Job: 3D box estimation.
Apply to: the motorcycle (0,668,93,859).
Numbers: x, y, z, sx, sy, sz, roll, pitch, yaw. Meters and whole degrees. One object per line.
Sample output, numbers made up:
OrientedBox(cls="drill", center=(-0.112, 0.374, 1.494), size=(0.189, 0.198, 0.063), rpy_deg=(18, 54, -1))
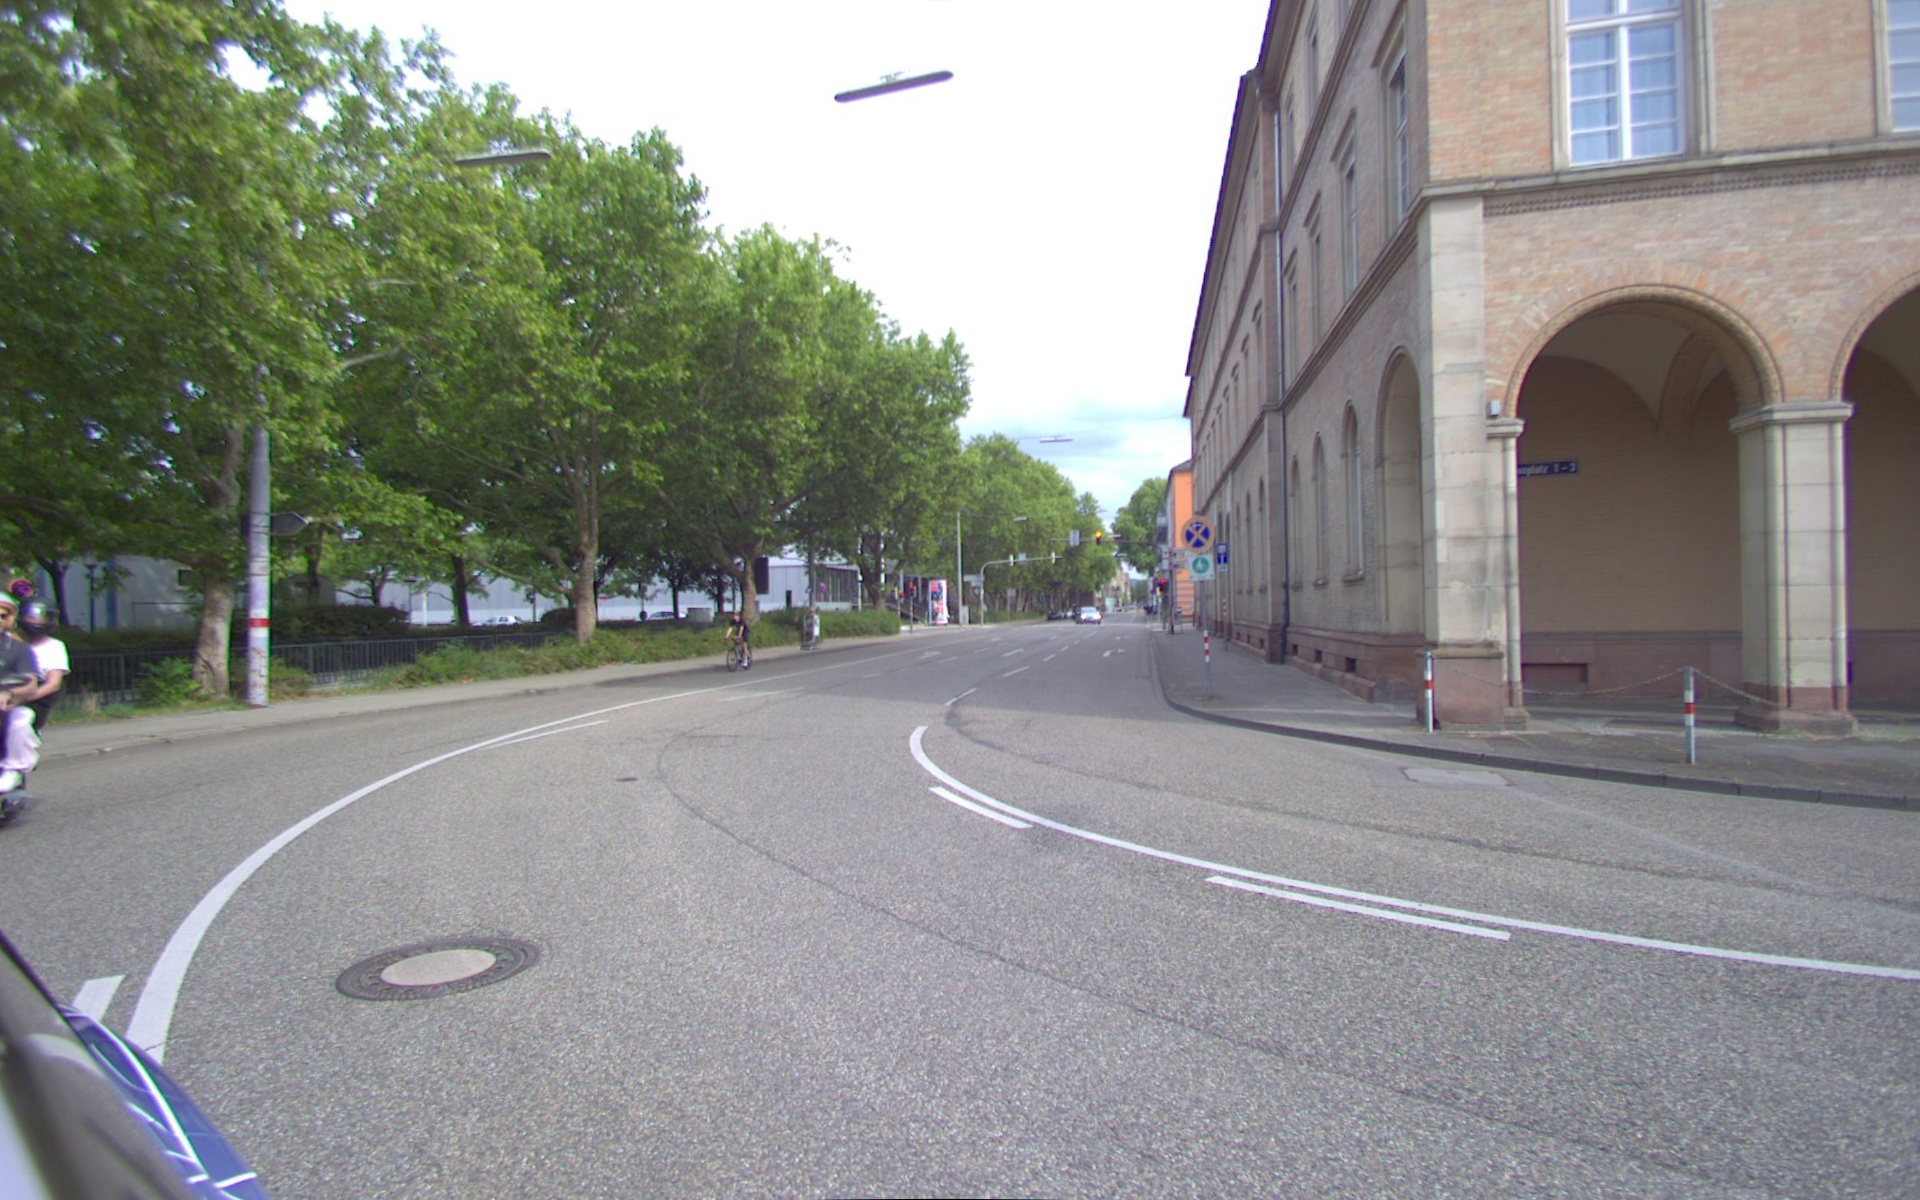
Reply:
OrientedBox(cls="motorcycle", center=(-6.560, 1.066, 6.536), size=(0.768, 1.187, 1.999), rpy_deg=(0, -2, -19))

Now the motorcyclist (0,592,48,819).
OrientedBox(cls="motorcyclist", center=(-6.501, 0.672, 6.442), size=(0.768, 1.438, 0.766), rpy_deg=(0, -2, -19))

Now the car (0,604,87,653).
OrientedBox(cls="car", center=(-53.538, 1.618, 57.697), size=(2.414, 2.633, 5.483), rpy_deg=(-3, -1, 8))

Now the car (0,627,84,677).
OrientedBox(cls="car", center=(-36.028, 1.995, 37.922), size=(1.976, 1.808, 4.762), rpy_deg=(-3, -1, 7))

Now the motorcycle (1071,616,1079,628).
OrientedBox(cls="motorcycle", center=(12.258, 2.337, 108.129), size=(0.773, 1.187, 1.988), rpy_deg=(-3, -2, 7))

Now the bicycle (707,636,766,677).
OrientedBox(cls="bicycle", center=(-6.302, 1.583, 28.661), size=(0.763, 1.023, 2.400), rpy_deg=(-3, -1, 10))

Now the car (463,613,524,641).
OrientedBox(cls="car", center=(-37.611, 2.173, 81.637), size=(3.946, 2.029, 1.999), rpy_deg=(-3, -2, 2))

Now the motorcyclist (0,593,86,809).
OrientedBox(cls="motorcyclist", center=(-6.725, 0.686, 7.023), size=(0.768, 1.438, 0.691), rpy_deg=(0, -2, -18))

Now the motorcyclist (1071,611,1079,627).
OrientedBox(cls="motorcyclist", center=(12.246, 1.998, 108.159), size=(0.773, 1.673, 1.110), rpy_deg=(-3, -2, 7))

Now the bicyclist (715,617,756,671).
OrientedBox(cls="bicyclist", center=(-6.341, 1.234, 28.606), size=(0.776, 1.458, 0.911), rpy_deg=(-3, -2, 11))

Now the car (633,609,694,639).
OrientedBox(cls="car", center=(-22.578, 1.830, 77.020), size=(3.951, 2.029, 1.996), rpy_deg=(-3, -2, 6))

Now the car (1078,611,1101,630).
OrientedBox(cls="car", center=(10.667, 1.670, 83.273), size=(1.655, 1.449, 3.808), rpy_deg=(-1, -1, 10))

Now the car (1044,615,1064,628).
OrientedBox(cls="car", center=(12.208, 2.748, 131.292), size=(1.980, 1.553, 4.254), rpy_deg=(-3, -1, 12))
